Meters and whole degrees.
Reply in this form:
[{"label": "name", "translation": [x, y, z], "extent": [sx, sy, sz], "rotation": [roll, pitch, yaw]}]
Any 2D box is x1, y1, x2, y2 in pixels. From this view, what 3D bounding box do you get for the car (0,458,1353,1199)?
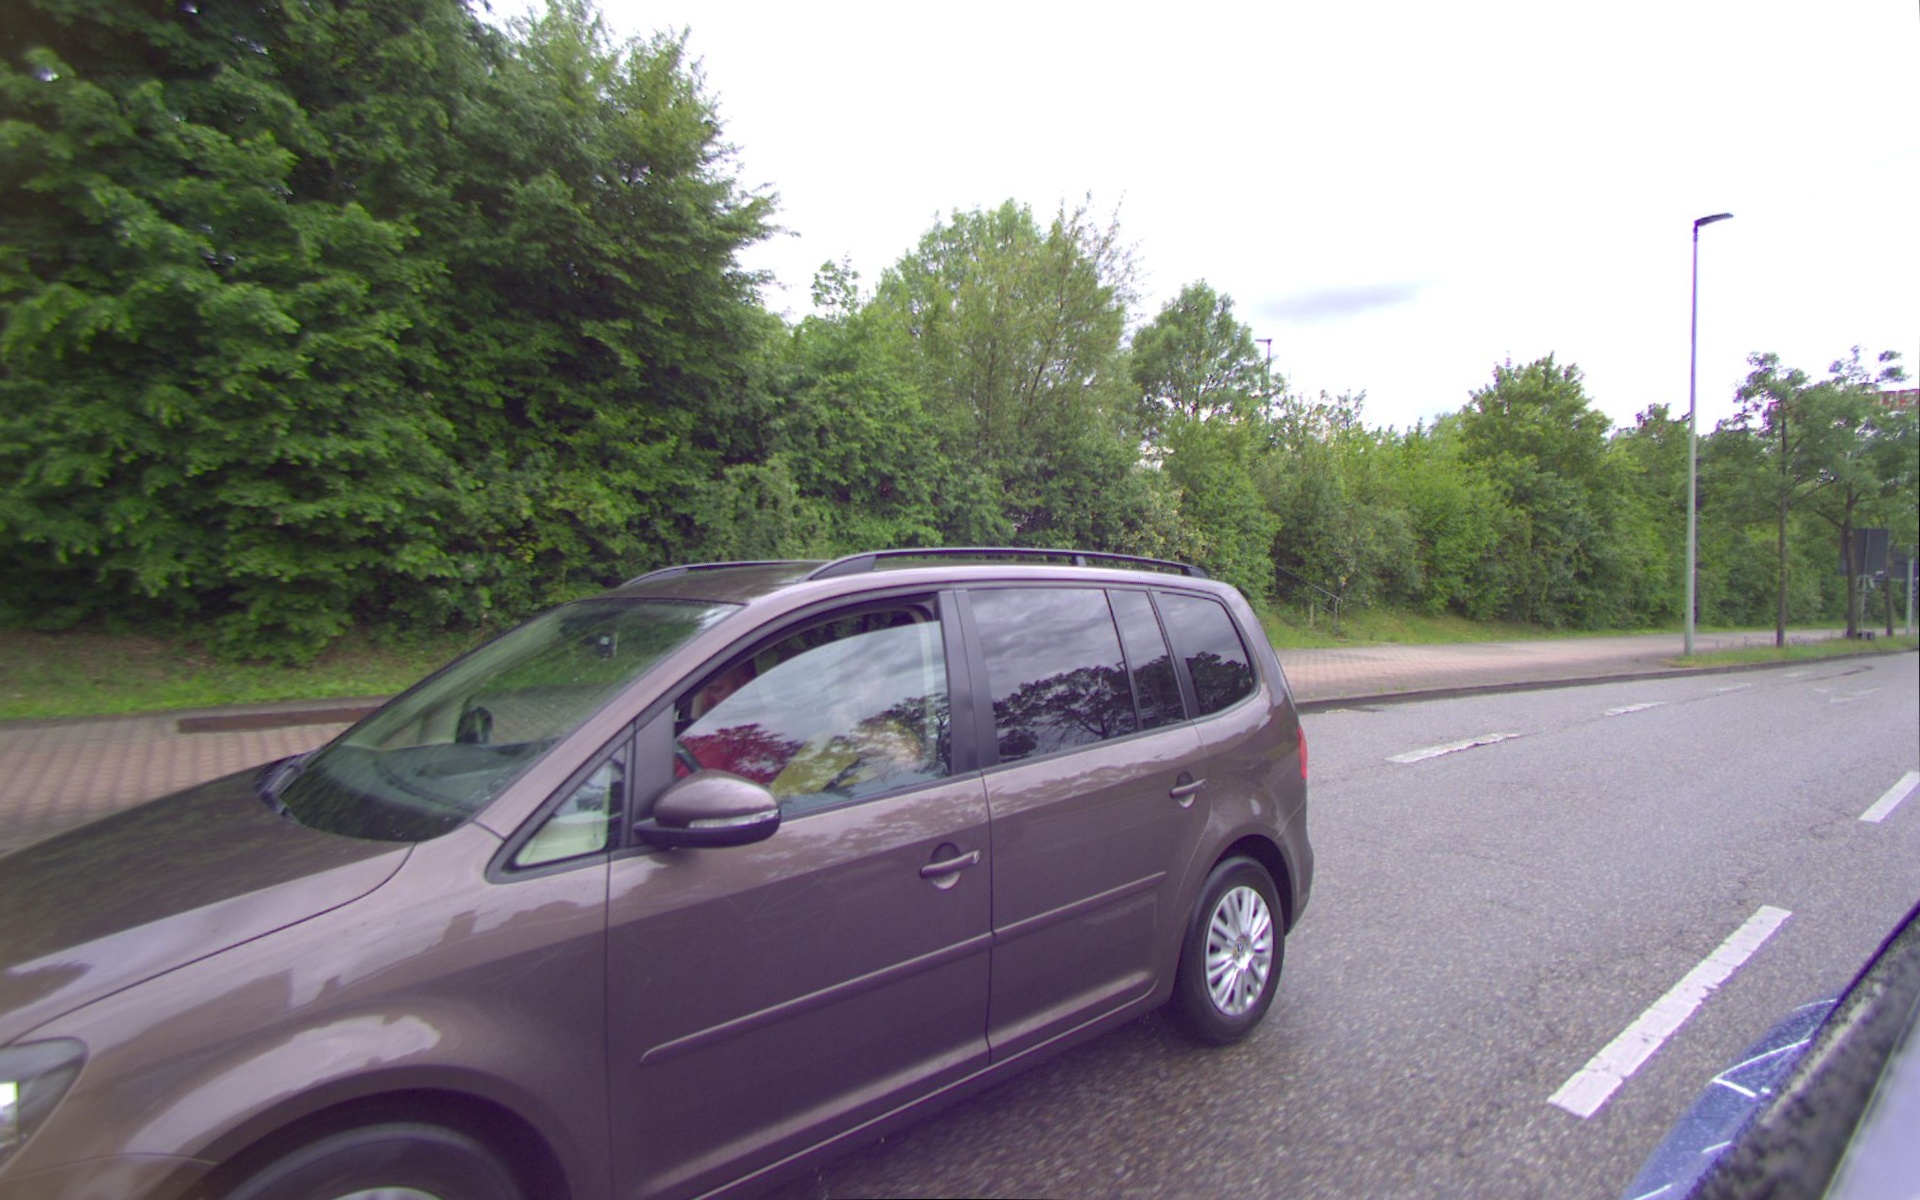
[{"label": "car", "translation": [-0.579, 0.612, 3.097], "extent": [4.060, 1.617, 1.716], "rotation": [0, 1, -43]}]
